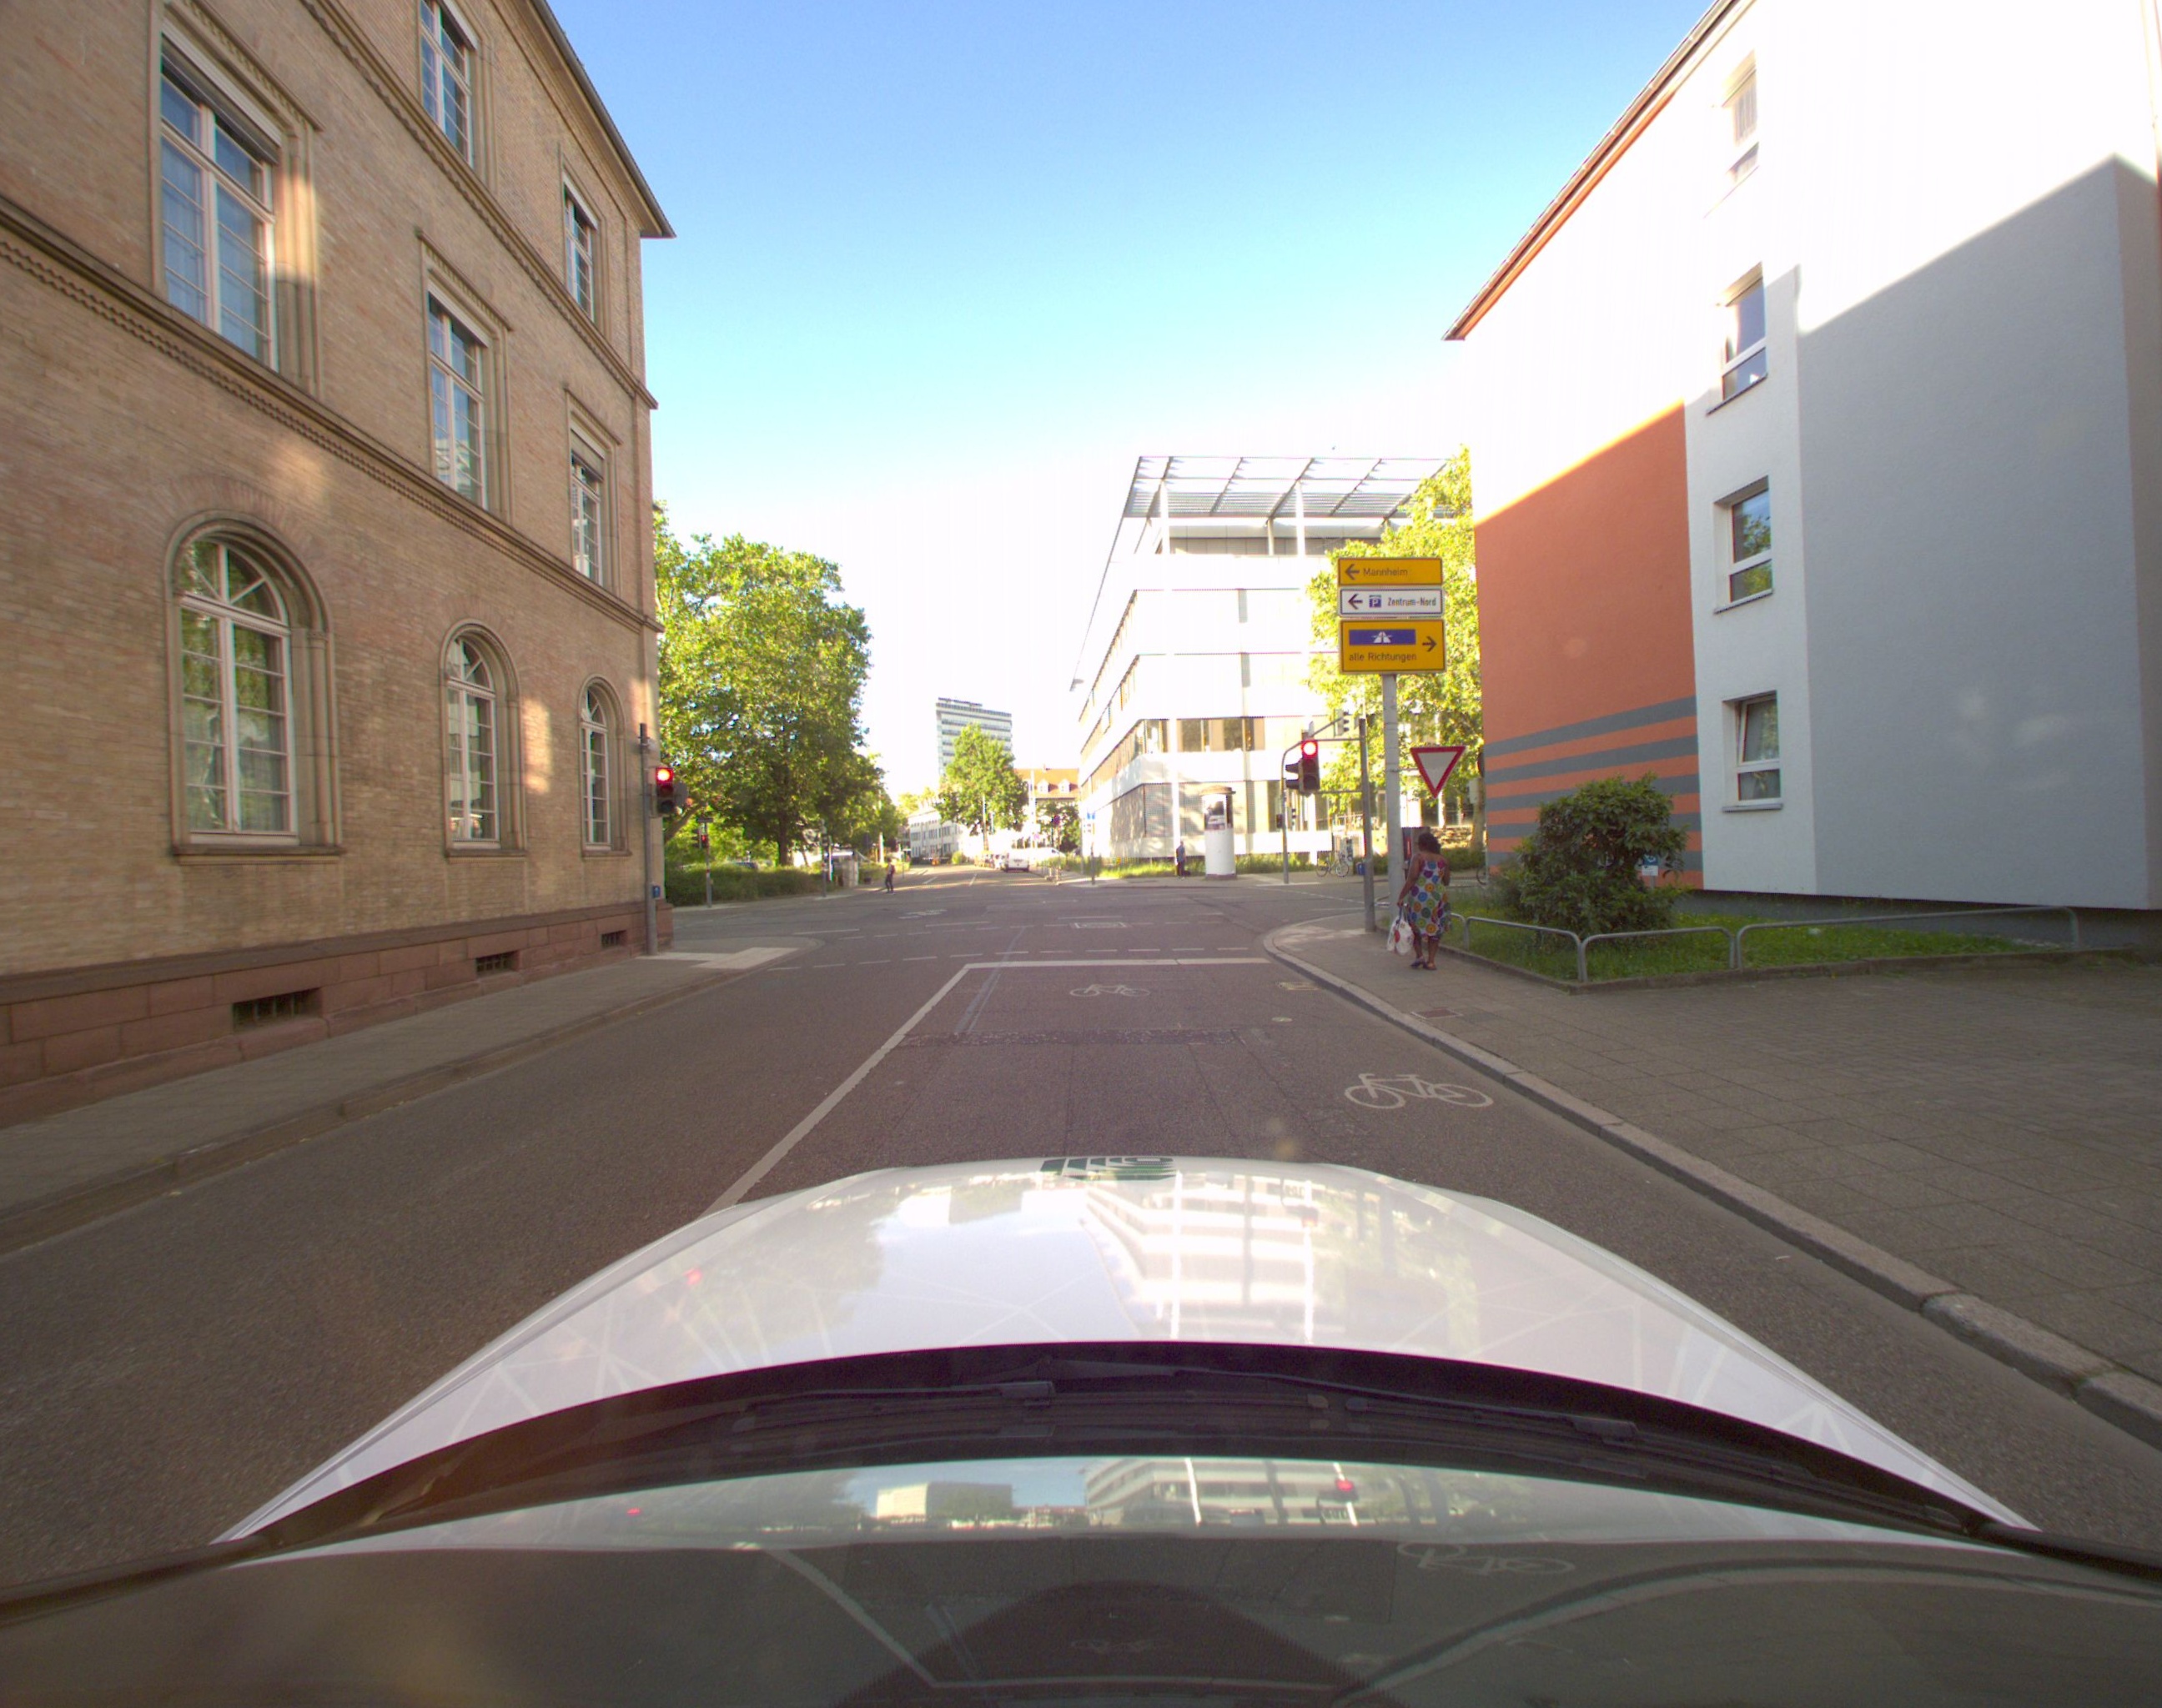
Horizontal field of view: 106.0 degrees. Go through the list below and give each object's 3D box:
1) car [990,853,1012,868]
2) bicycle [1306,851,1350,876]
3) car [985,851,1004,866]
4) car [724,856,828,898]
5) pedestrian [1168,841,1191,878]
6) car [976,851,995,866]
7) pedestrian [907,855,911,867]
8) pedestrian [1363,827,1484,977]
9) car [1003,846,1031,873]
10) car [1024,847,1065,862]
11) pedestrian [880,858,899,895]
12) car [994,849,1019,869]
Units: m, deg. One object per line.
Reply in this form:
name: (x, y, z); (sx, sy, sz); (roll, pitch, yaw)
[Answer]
car: (-8.059, 0.607, 81.529); (1.705, 1.424, 4.221); (-2, 0, -11)
bicycle: (10.907, 0.427, 36.014); (0.467, 1.049, 1.893); (-2, 0, -40)
car: (-9.163, 0.504, 86.042); (1.704, 1.464, 4.225); (-2, 0, -9)
car: (-14.396, 1.063, 38.655); (4.219, 1.777, 1.901); (-2, 0, -7)
pedestrian: (4.720, 0.253, 38.950); (0.658, 1.736, 0.802); (-2, 0, -43)
car: (-11.305, 0.485, 96.142); (2.100, 1.658, 4.461); (-2, 0, -9)
pedestrian: (-22.135, 0.951, 104.793); (0.380, 1.534, 0.444); (-2, 0, -10)
pedestrian: (3.930, 0.530, 9.408); (0.951, 1.573, 0.751); (-5, 0, 1)
car: (-5.125, 0.417, 64.952); (2.065, 1.963, 4.228); (-2, 0, -7)
car: (-4.644, 0.071, 103.151); (4.889, 1.872, 1.990); (-1, -1, -15)
pedestrian: (-8.524, 1.003, 36.241); (0.711, 1.599, 0.615); (-2, 0, -8)
car: (-7.086, 0.472, 76.878); (1.947, 1.795, 4.223); (-2, 0, -11)
